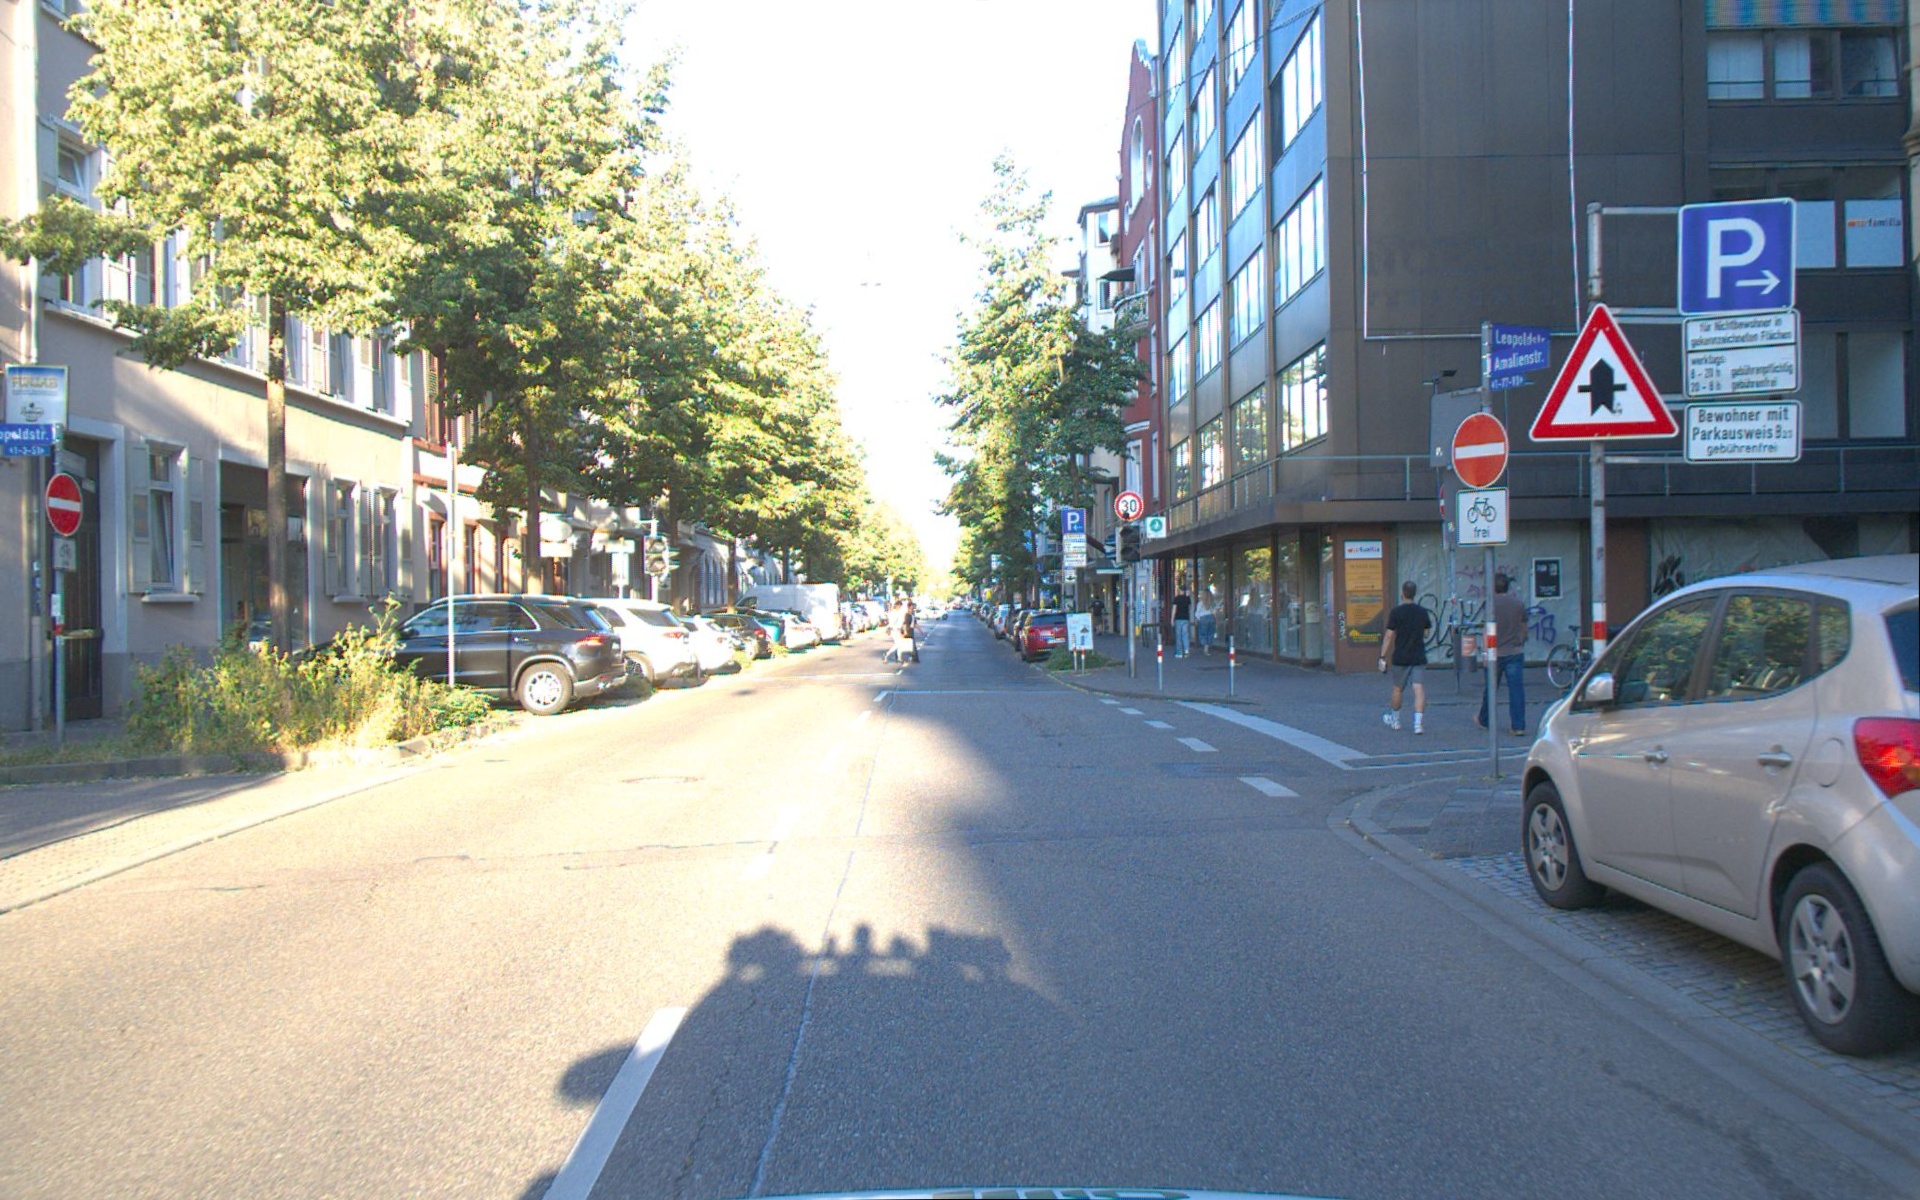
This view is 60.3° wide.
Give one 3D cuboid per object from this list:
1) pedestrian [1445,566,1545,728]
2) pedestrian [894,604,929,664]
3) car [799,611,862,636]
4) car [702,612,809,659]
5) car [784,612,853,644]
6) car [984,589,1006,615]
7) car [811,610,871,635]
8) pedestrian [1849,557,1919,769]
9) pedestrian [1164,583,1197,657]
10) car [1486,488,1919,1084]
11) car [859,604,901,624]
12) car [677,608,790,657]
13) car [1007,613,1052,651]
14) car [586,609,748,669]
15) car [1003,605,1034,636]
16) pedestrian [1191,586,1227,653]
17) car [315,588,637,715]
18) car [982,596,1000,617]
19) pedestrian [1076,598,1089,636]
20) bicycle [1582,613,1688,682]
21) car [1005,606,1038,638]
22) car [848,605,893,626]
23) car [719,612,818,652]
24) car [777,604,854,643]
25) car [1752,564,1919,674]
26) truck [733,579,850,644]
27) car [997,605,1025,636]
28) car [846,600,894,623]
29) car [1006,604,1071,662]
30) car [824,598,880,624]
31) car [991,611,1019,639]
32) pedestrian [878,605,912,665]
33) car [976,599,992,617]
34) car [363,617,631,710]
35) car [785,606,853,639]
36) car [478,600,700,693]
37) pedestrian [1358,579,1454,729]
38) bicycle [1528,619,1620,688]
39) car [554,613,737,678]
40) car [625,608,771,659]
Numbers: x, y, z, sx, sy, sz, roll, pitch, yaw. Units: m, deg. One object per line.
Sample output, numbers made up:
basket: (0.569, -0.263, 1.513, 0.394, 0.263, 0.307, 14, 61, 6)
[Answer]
pedestrian: (6.142, 0.522, 19.041, 0.739, 1.798, 1.222, 0, 0, -1)
pedestrian: (-1.414, 0.990, 48.407, 0.717, 1.712, 0.746, 1, -1, -40)
car: (-7.801, 1.413, 100.060, 3.663, 1.475, 2.000, -1, 0, -1)
car: (-7.458, 1.322, 60.504, 3.663, 1.624, 1.999, -1, -2, -1)
car: (-7.551, 1.494, 88.601, 3.513, 1.623, 1.700, -1, -1, -1)
car: (2.258, 0.163, 107.344, 1.283, 1.628, 2.659, 0, -1, -3)
car: (-7.493, 1.408, 104.689, 3.663, 1.519, 2.000, -1, 0, -1)
pedestrian: (7.689, 0.504, 13.565, 0.414, 1.695, 0.585, 0, 0, -14)
pedestrian: (5.705, 0.511, 42.771, 0.700, 1.898, 0.679, -1, 0, -3)
car: (3.690, 0.540, 6.855, 1.662, 1.800, 3.999, -1, 0, -1)
car: (-7.119, 1.248, 146.980, 3.663, 1.738, 2.000, 0, 0, -1)
car: (-7.846, 1.108, 57.631, 3.663, 1.671, 2.000, 0, 0, -1)
car: (2.516, 1.173, 60.259, 1.279, 1.315, 3.011, 1, -1, -4)
car: (-8.425, 1.106, 47.855, 4.336, 1.627, 2.000, -1, 0, -1)
car: (2.597, 0.921, 74.002, 1.182, 1.323, 2.659, 0, -1, -3)
pedestrian: (6.471, 0.496, 42.947, 0.750, 1.718, 0.786, -1, 0, -3)
car: (-7.373, 0.769, 25.555, 4.358, 1.867, 2.033, 0, -1, -1)
car: (2.495, 0.553, 132.787, 1.283, 1.628, 2.659, 0, -1, -3)
pedestrian: (5.278, 0.730, 71.522, 0.523, 1.650, 0.534, 0, 0, 0)
bicycle: (10.958, 0.753, 26.897, 0.409, 1.056, 1.760, -1, 1, -26)
car: (2.608, 0.936, 70.951, 1.182, 1.323, 2.659, 0, -1, -3)
car: (-7.479, 1.271, 138.403, 3.663, 1.738, 2.000, 0, 0, -1)
car: (-7.546, 1.252, 65.429, 3.663, 1.475, 2.000, -1, 0, -1)
car: (-7.192, 1.153, 82.555, 3.663, 1.891, 2.000, 0, 0, -1)
car: (14.711, 0.274, 25.920, 4.184, 1.609, 1.984, 0, 0, -25)
truck: (-7.292, 0.494, 71.781, 4.840, 2.661, 2.000, -1, -1, -1)
car: (2.693, 1.097, 88.336, 1.283, 1.628, 2.659, 0, -1, -3)
car: (-7.076, 0.898, 129.870, 3.663, 1.738, 2.000, 0, 0, -1)
car: (2.313, 0.982, 49.255, 1.545, 1.569, 3.394, -3, -1, -3)
car: (-7.317, 0.736, 112.281, 3.663, 1.738, 2.000, 0, 0, -1)
car: (2.192, 1.228, 81.184, 1.182, 1.323, 2.659, 0, -1, -3)
pedestrian: (-1.857, 0.998, 47.429, 0.710, 1.702, 0.700, 0, 0, -40)
car: (2.225, 0.784, 153.639, 1.283, 1.628, 2.659, 0, -1, -3)
car: (-7.655, 1.026, 27.623, 3.950, 1.469, 1.830, 0, 0, -1)
car: (-7.895, 1.250, 92.838, 3.663, 1.738, 2.000, -1, 0, -1)
car: (-7.173, 0.880, 32.241, 3.908, 1.738, 1.833, 0, 0, -1)
pedestrian: (5.096, 0.597, 18.976, 0.739, 1.669, 1.259, 0, 0, -1)
bicycle: (9.812, 0.836, 26.477, 0.408, 1.048, 1.681, -1, 0, -18)
car: (-7.633, 1.097, 40.442, 4.090, 1.533, 2.000, 0, -1, -1)
car: (-8.301, 1.067, 52.759, 4.336, 1.529, 2.000, -1, 0, -1)
